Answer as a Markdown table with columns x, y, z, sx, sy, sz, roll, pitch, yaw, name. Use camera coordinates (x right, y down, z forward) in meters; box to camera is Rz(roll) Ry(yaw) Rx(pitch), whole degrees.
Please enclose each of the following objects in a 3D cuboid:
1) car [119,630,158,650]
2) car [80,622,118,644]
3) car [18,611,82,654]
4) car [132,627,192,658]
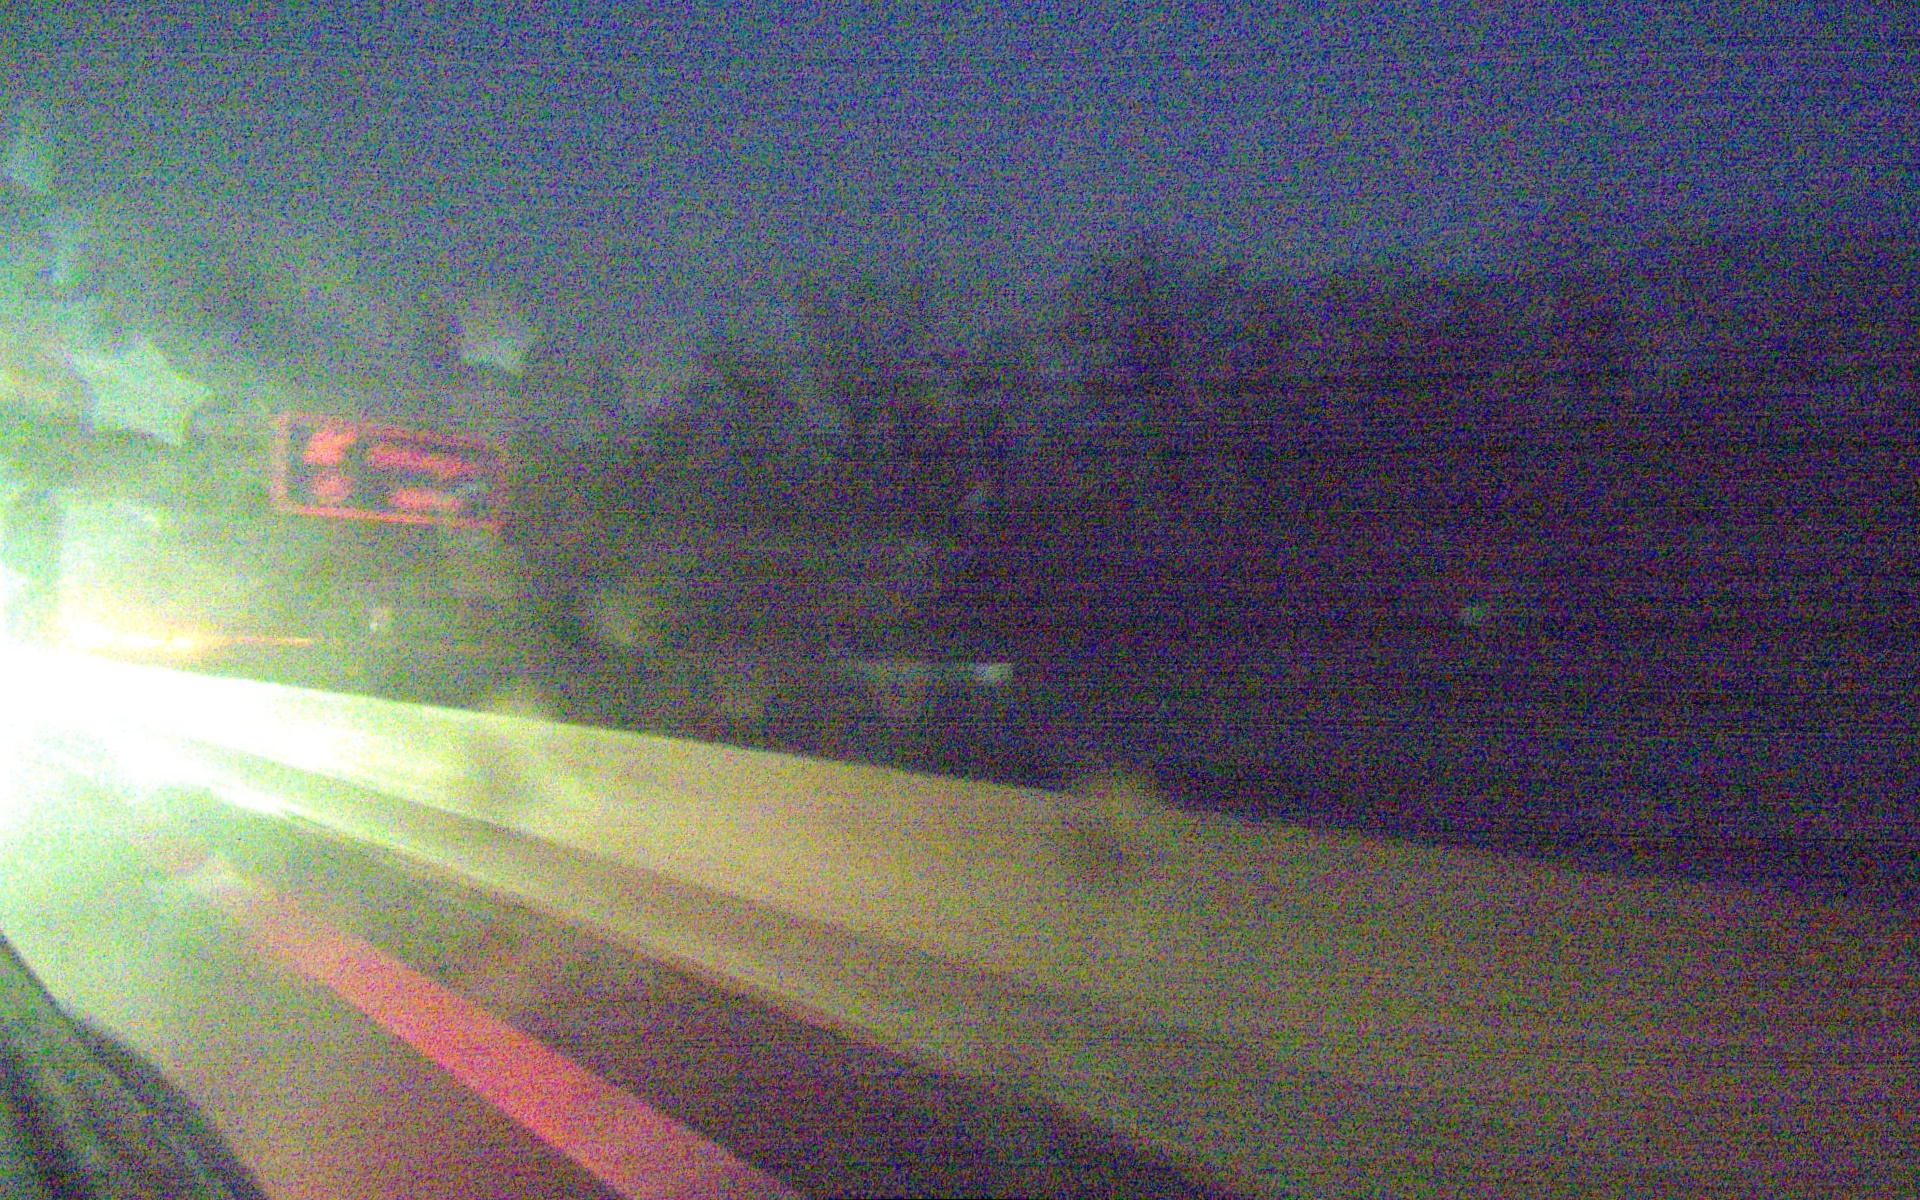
| x | y | z | sx | sy | sz | roll | pitch | yaw | name |
| --- | --- | --- | --- | --- | --- | --- | --- | --- | --- |
| -63.712 | 3.129 | 78.471 | 4.270 | 1.520 | 1.672 | -2 | -4 | 42 | car |
| -99.473 | 3.828 | 116.905 | 7.145 | 2.462 | 2.355 | -2 | -4 | 42 | car |
| -44.816 | 1.572 | 49.802 | 4.378 | 2.029 | 1.766 | -1 | 0 | 40 | car |
| -43.336 | 2.282 | 54.929 | 4.378 | 1.538 | 1.766 | -1 | 0 | 40 | car |
